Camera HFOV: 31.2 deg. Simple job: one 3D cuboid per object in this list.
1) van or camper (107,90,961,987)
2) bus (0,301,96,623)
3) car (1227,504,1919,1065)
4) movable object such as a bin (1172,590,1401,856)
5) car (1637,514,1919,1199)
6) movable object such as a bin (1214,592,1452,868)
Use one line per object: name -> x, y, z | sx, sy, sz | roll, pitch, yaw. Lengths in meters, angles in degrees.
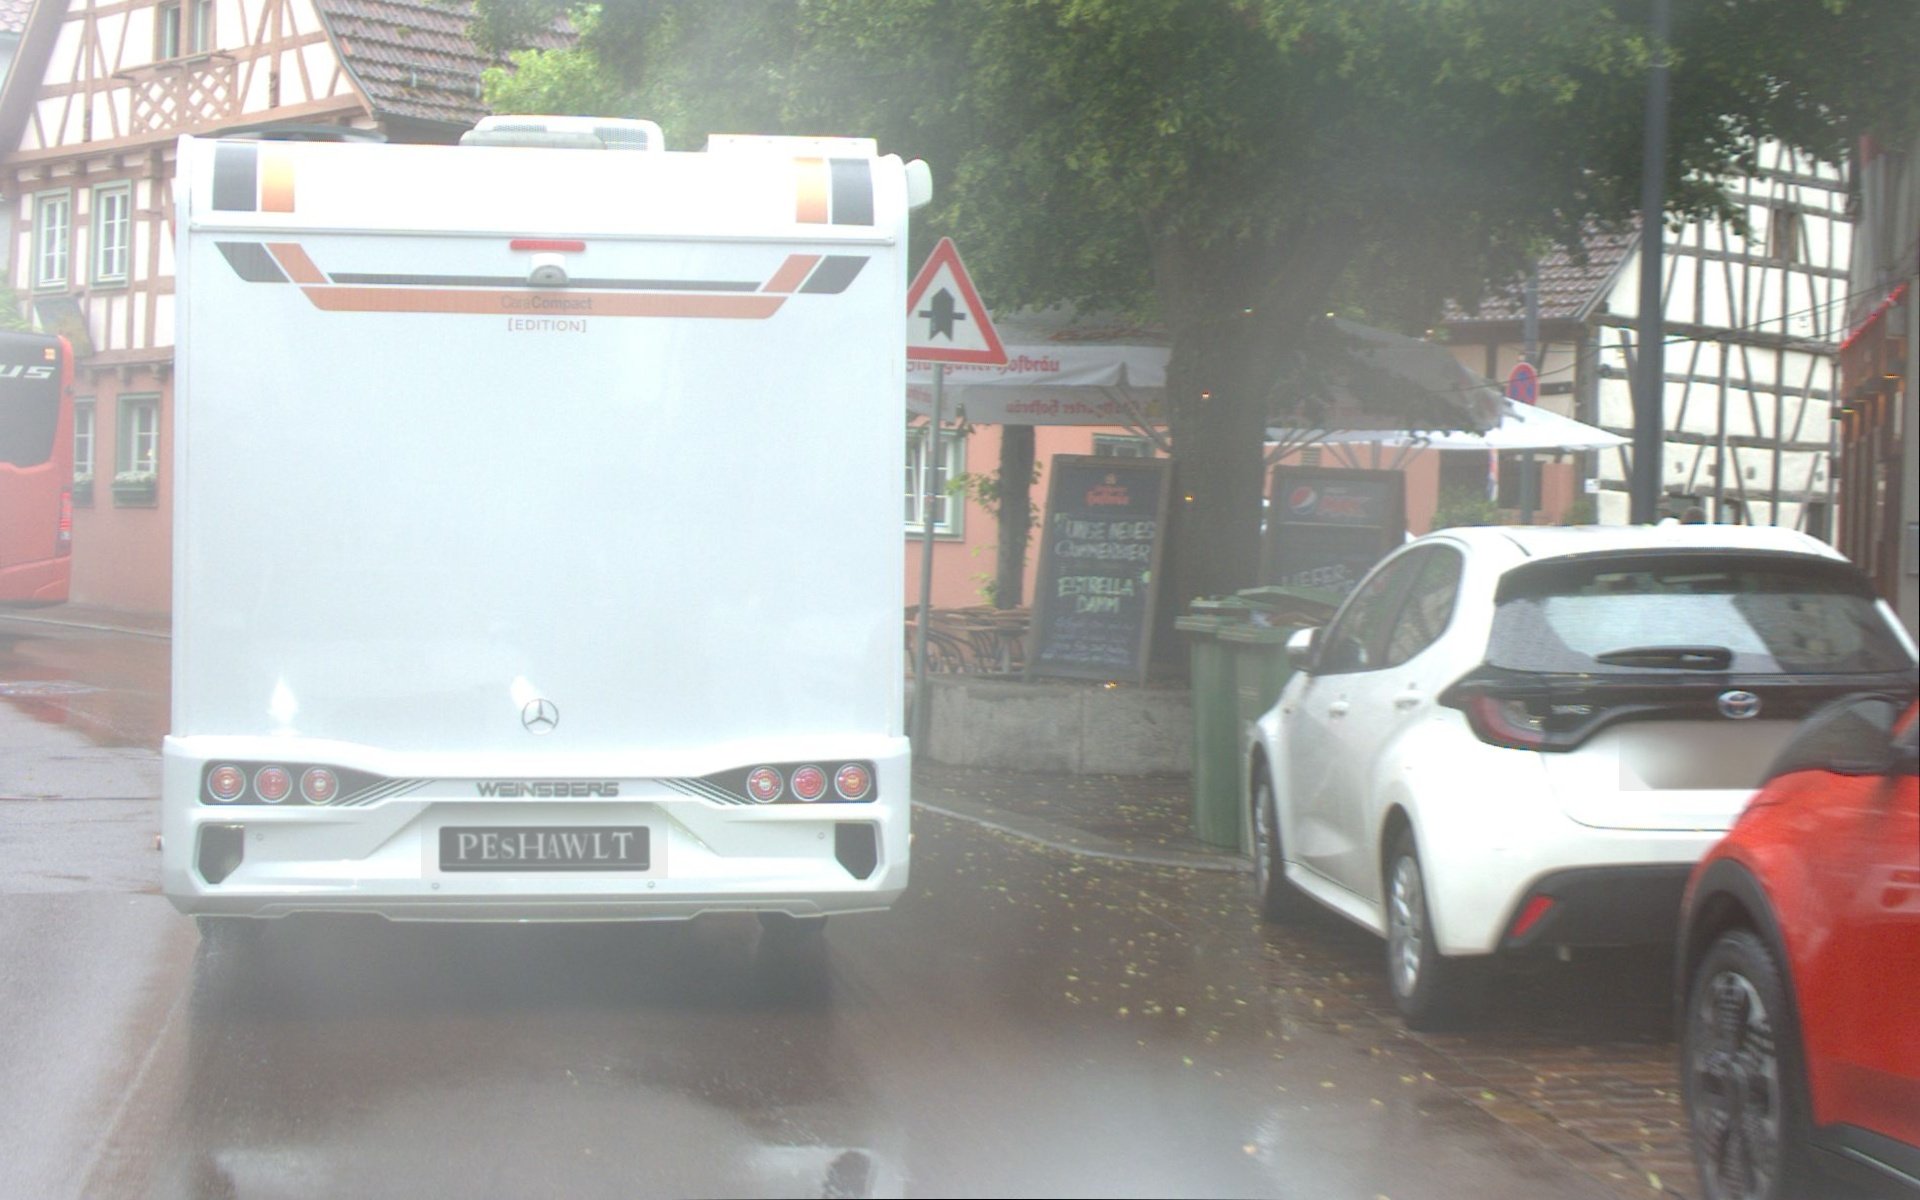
van or camper -> -1.851, -0.237, 13.463 | 2.437, 2.576, 6.753 | 2, 1, -11
bus -> -12.708, -1.502, 37.196 | 2.813, 3.078, 10.607 | 2, 1, -35
car -> 1.997, 0.461, 11.360 | 1.677, 1.523, 3.800 | 1, 2, -4
movable object such as a bin -> 1.420, 0.529, 15.027 | 0.833, 1.108, 0.589 | 2, 0, -10
car -> 2.489, 0.631, 5.643 | 1.677, 1.523, 3.800 | 1, 1, -5
movable object such as a bin -> 1.563, 0.539, 14.451 | 0.833, 1.108, 0.561 | 2, 0, -10
